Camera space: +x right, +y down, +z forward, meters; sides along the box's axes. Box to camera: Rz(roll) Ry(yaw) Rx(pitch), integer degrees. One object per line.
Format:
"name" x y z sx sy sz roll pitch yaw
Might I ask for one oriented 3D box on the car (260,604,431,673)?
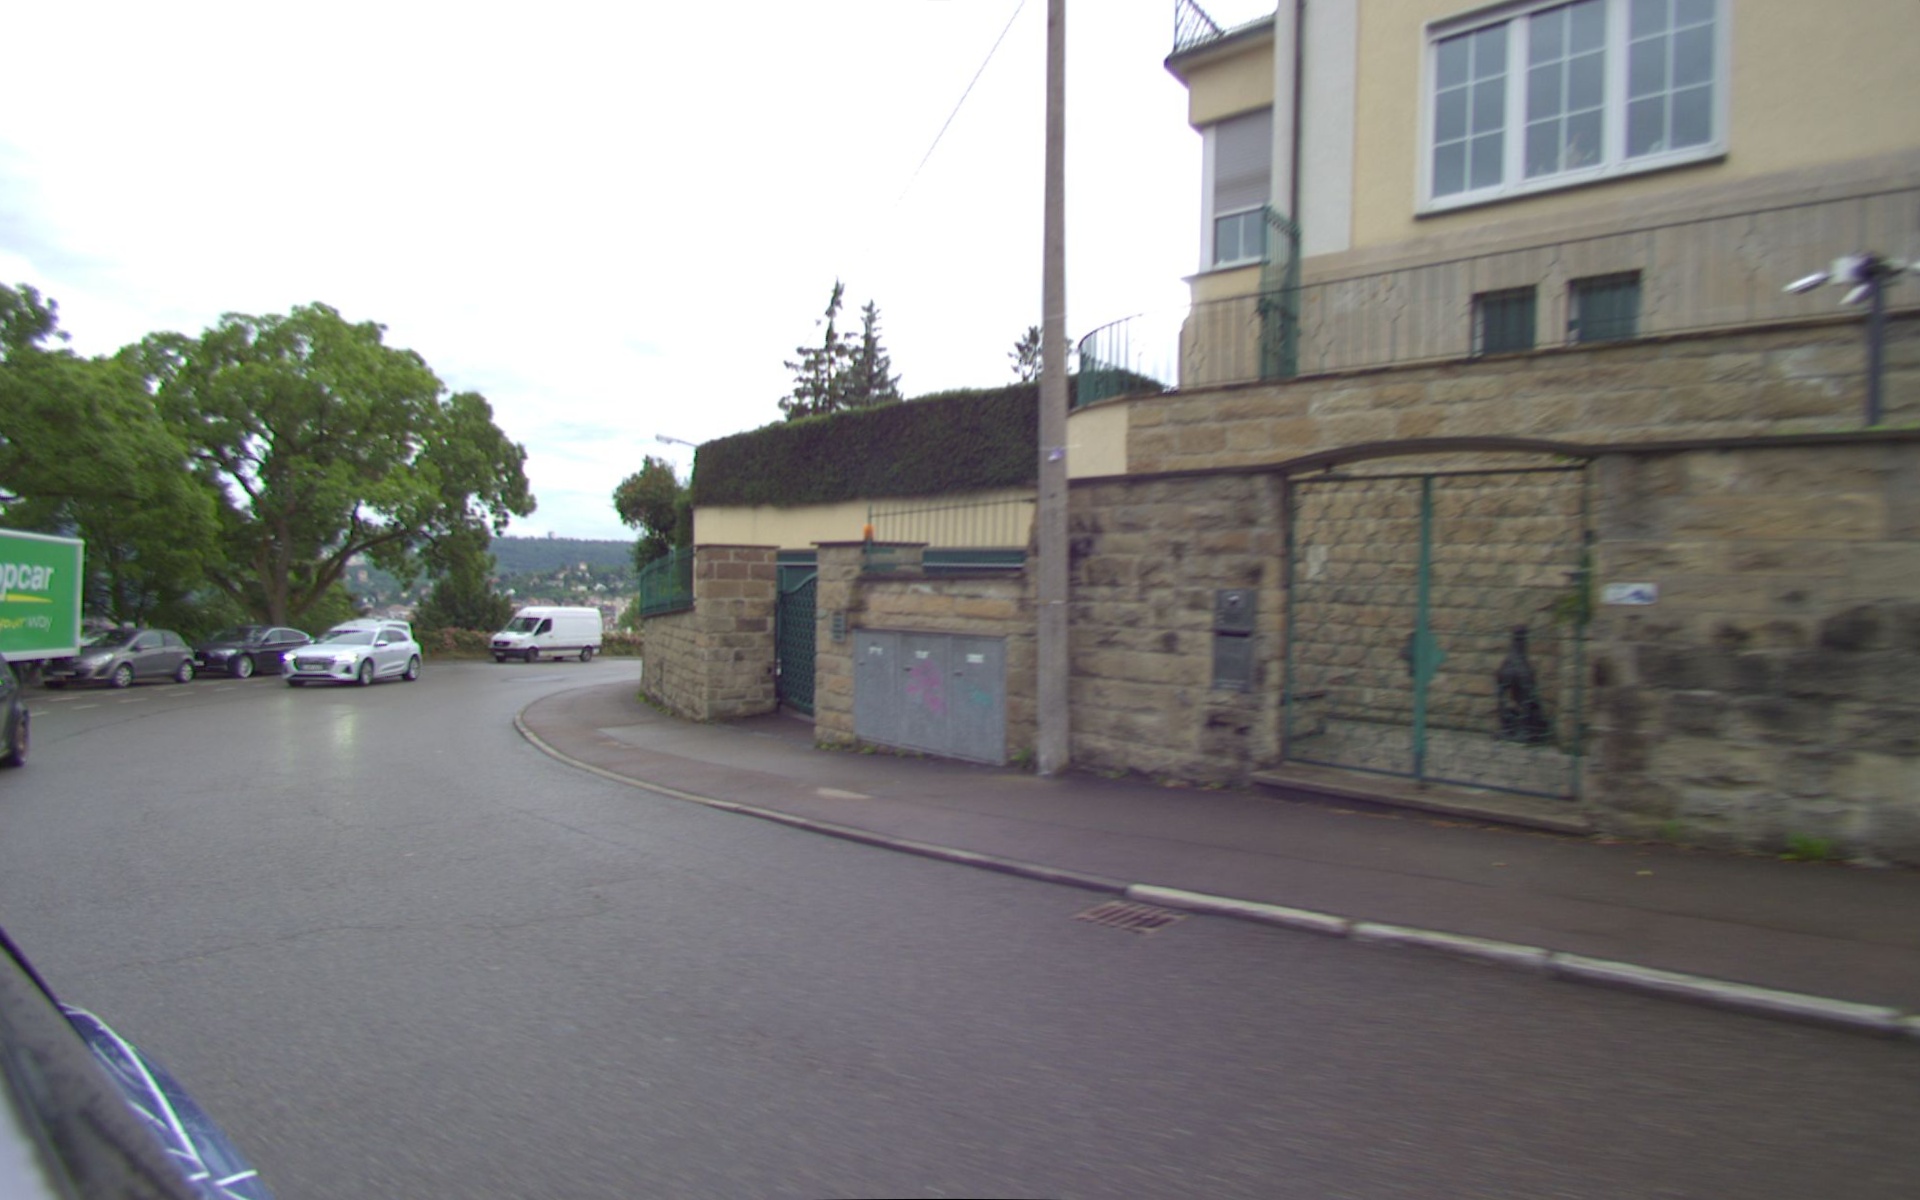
"car" -17.236 1.024 28.745 2.159 1.721 4.888 2 0 -5

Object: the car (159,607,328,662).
"car" -22.161 1.047 31.577 1.839 1.554 4.895 1 -1 -1

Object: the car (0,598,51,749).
"car" -10.362 0.709 9.736 1.755 1.497 4.417 2 -3 -34

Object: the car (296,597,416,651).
"car" -22.202 0.904 37.412 1.728 1.835 4.422 1 -2 0

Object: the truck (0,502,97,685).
"truck" -19.408 -0.179 18.138 2.735 3.497 8.961 2 -2 -18

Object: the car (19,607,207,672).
"car" -21.588 0.974 26.034 1.712 1.515 4.142 1 -1 -8

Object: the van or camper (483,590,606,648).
"van or camper" -19.732 0.892 48.431 2.058 2.600 5.848 0 -1 20
